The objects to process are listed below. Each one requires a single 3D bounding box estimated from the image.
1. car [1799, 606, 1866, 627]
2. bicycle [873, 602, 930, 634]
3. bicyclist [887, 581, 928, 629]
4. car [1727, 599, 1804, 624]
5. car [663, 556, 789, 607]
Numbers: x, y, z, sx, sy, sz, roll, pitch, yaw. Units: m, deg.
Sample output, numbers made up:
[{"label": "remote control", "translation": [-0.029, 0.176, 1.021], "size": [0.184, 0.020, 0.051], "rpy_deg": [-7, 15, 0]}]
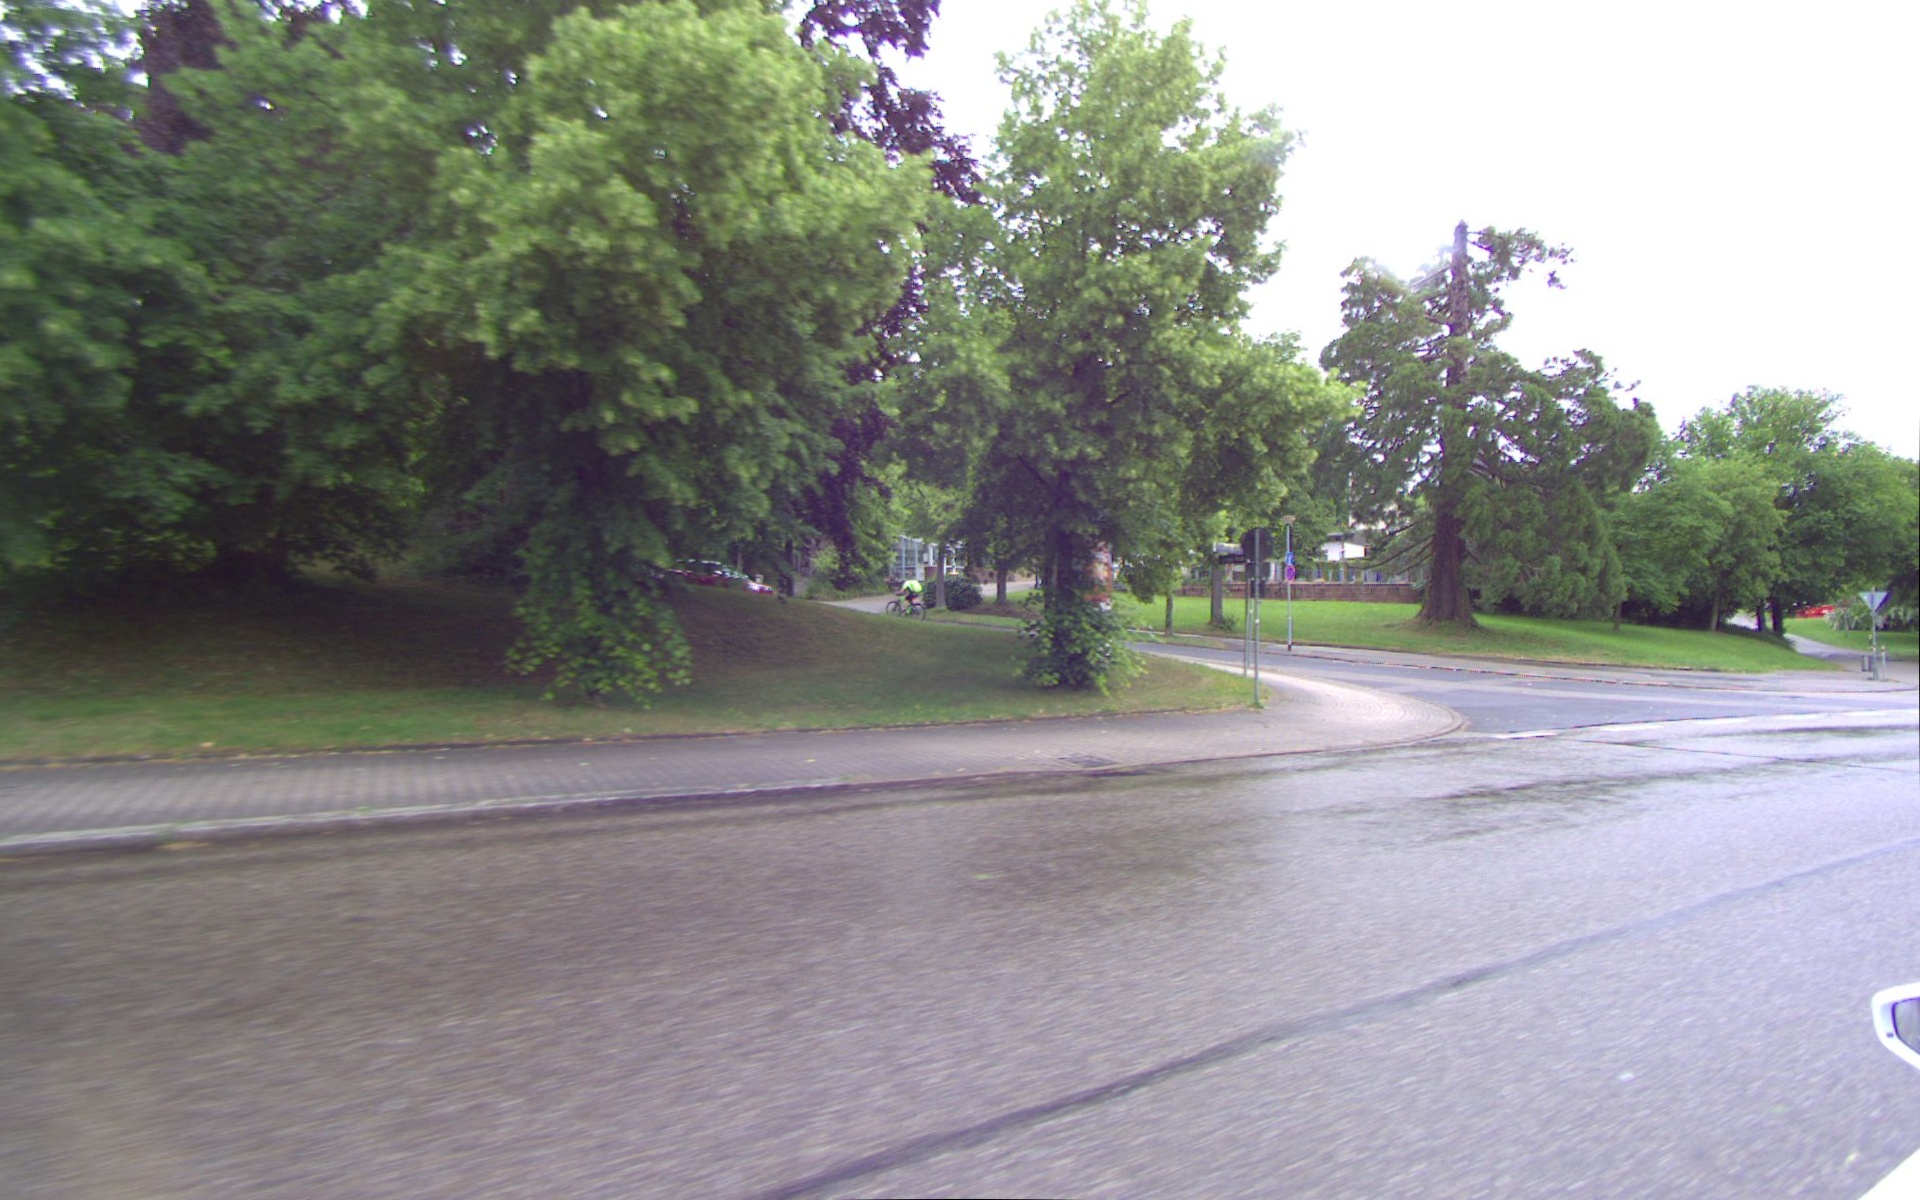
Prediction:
[{"label": "car", "translation": [67.699, 1.254, 78.010], "size": [3.852, 1.505, 1.925], "rpy_deg": [1, -1, 42]}, {"label": "bicycle", "translation": [-2.270, 0.687, 38.834], "size": [1.999, 1.170, 0.854], "rpy_deg": [1, -2, 25]}, {"label": "bicyclist", "translation": [-2.034, 0.182, 38.754], "size": [1.261, 1.778, 0.854], "rpy_deg": [1, -2, 25]}, {"label": "car", "translation": [52.676, 0.725, 65.700], "size": [3.852, 1.505, 1.925], "rpy_deg": [1, -1, 42]}, {"label": "car", "translation": [-8.429, -0.658, 36.243], "size": [3.920, 1.690, 1.978], "rpy_deg": [2, 0, 18]}]
